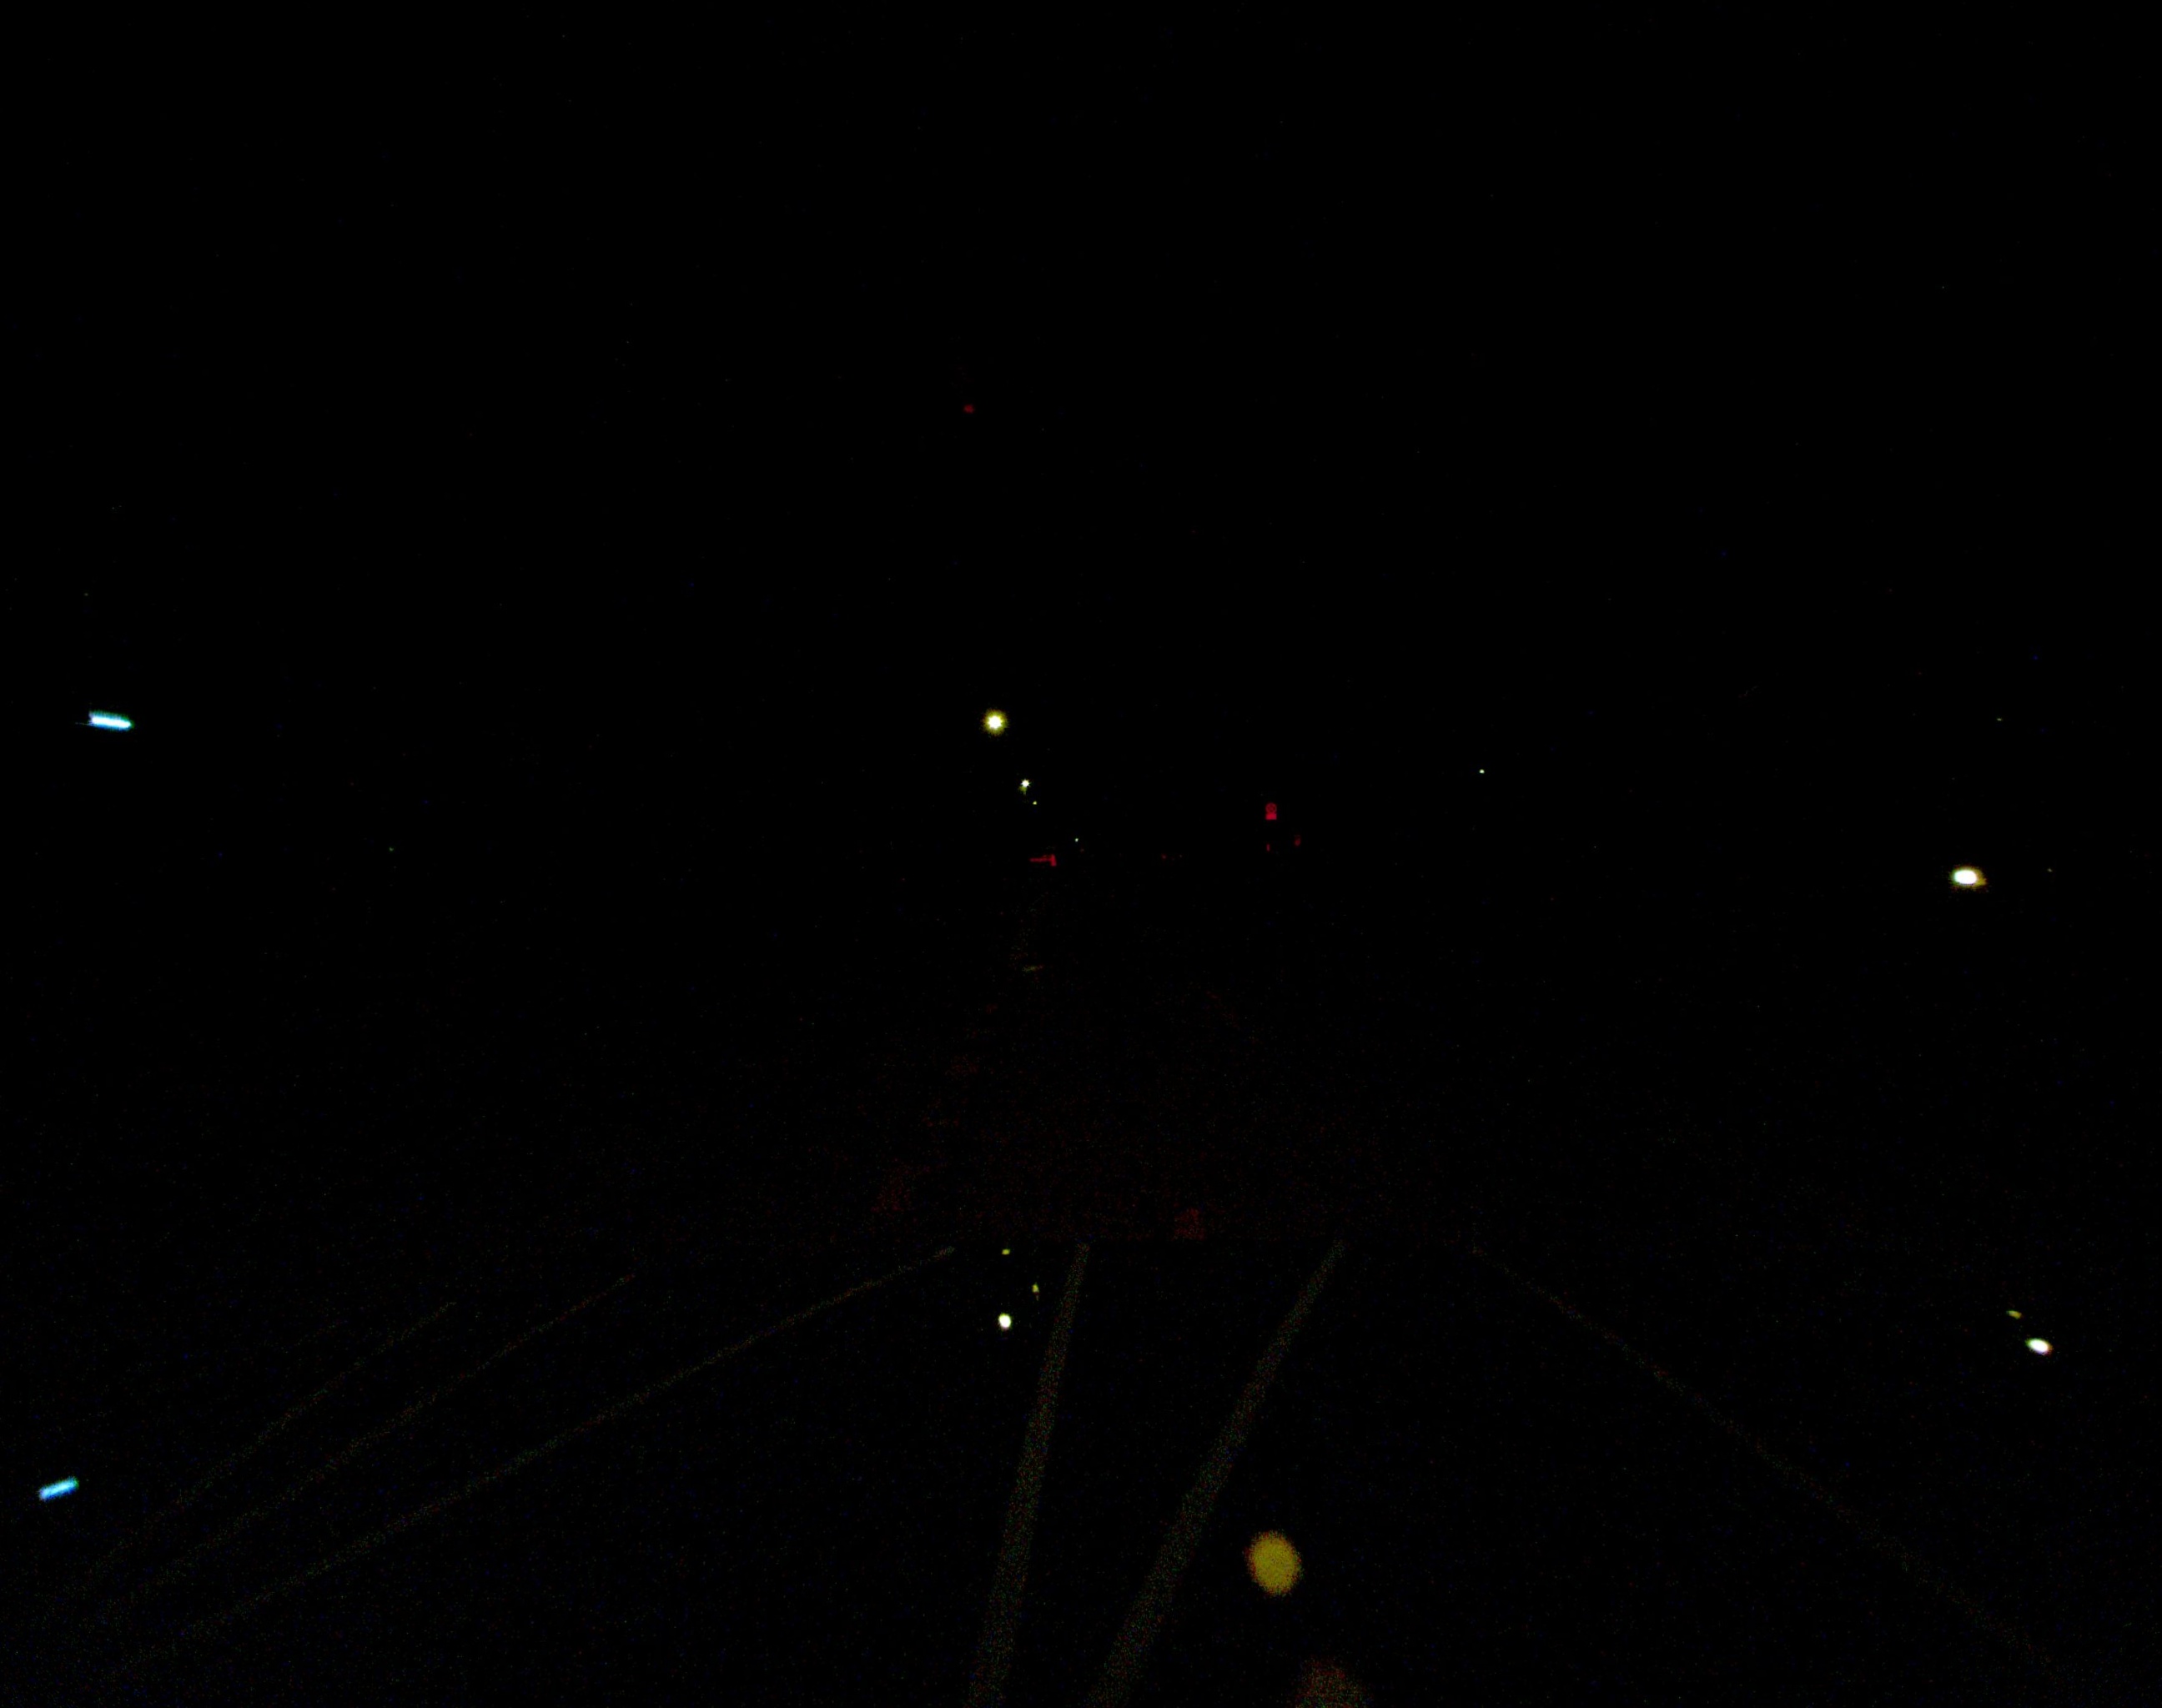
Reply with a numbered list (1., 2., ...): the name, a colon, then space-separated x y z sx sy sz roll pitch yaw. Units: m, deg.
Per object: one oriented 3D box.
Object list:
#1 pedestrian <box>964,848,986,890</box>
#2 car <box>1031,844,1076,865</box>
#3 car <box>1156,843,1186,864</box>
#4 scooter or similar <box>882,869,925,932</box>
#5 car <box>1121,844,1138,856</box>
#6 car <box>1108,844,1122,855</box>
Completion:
1. pedestrian: -4.710 0.644 33.775 0.824 1.809 0.608 -3 2 1
2. car: -2.549 0.039 70.798 3.997 1.821 1.912 -2 2 0
3. car: 7.214 -0.055 61.010 1.911 1.445 3.999 -3 2 1
4. scooter or similar: -3.784 0.963 16.291 0.570 1.271 1.391 0 0 0
5. car: 6.380 -0.564 100.474 1.911 1.445 3.999 -3 2 1
6. car: 5.177 -0.736 116.840 1.911 1.445 3.999 -3 2 1
